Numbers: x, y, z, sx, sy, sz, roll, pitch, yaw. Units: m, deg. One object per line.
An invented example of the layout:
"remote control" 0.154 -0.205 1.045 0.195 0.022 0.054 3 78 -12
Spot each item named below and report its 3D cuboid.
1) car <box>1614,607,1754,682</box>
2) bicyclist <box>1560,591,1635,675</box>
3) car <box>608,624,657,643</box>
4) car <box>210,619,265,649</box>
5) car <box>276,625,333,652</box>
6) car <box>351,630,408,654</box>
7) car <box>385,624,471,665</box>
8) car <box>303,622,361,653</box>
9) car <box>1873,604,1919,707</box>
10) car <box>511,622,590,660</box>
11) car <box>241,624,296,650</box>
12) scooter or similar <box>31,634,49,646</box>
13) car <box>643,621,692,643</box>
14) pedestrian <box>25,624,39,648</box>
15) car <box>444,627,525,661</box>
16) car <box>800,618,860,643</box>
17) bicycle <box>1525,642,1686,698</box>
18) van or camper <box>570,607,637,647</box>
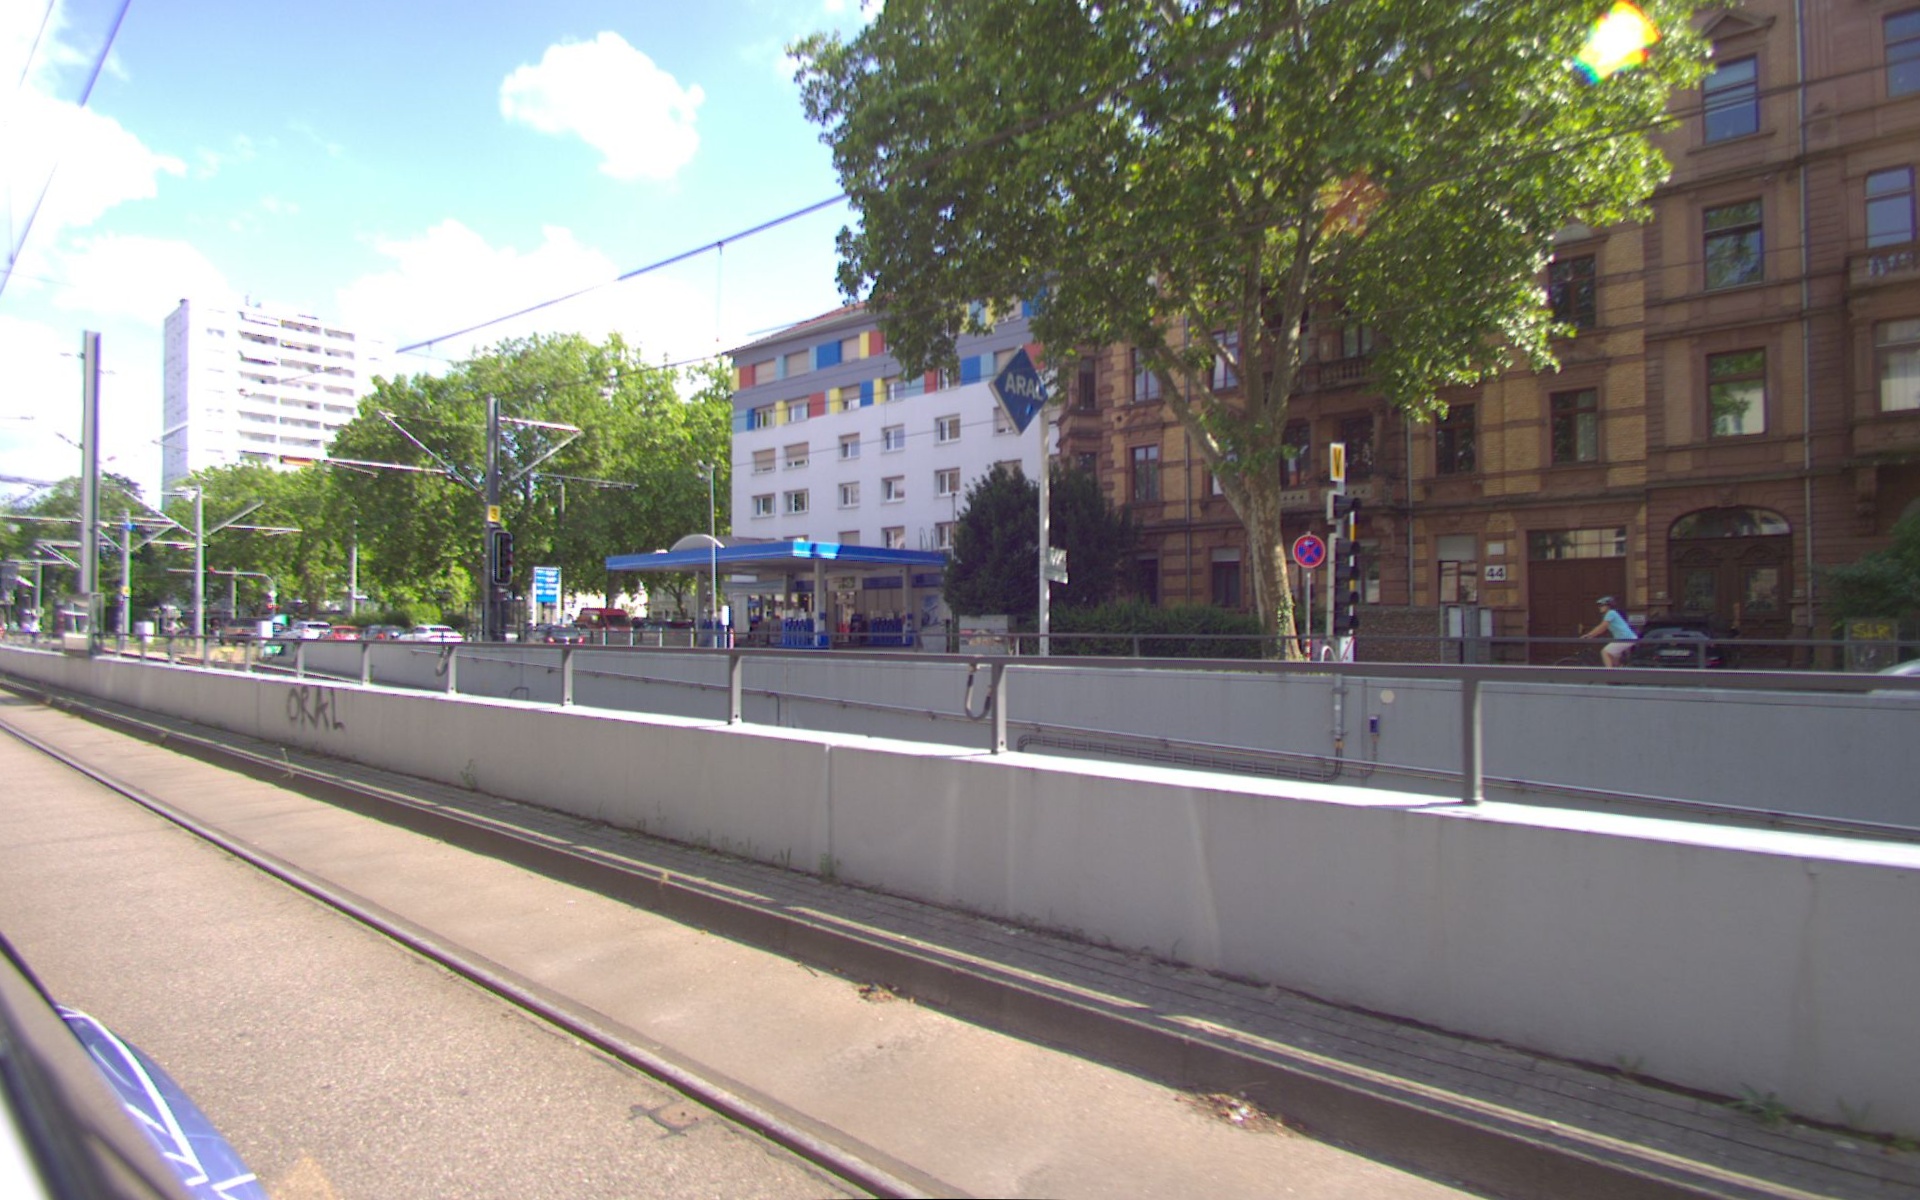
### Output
"car" 15.944 0.923 22.208 2.000 1.494 3.943 -2 -2 43
"bicyclist" 11.522 0.592 18.292 1.044 1.466 0.681 -1 -2 41
"car" -23.854 2.472 73.703 3.997 1.304 1.458 -2 -5 40
"car" -52.133 2.457 72.981 5.332 2.002 2.053 -4 -4 41
"car" -41.108 2.382 63.389 4.676 1.619 1.742 -1 -2 41
"car" -30.972 2.230 53.966 3.633 1.198 1.599 -2 -2 43
"car" -26.238 2.217 49.798 5.074 1.618 1.928 -5 3 41
"car" -36.276 2.181 58.391 4.141 1.619 1.694 -4 -4 41
"car" 13.689 0.714 12.521 3.491 1.313 1.480 -2 -5 43
"car" -16.428 1.636 40.533 1.649 1.427 3.785 1 -2 -44
"car" -46.749 2.525 68.367 5.151 1.665 1.847 -2 -4 41
"scooter or similar" -65.945 2.873 72.542 0.552 0.810 0.830 -2 -2 36
"car" -21.810 2.386 75.435 3.997 1.616 1.510 -2 -4 40
"pedestrian" -66.207 2.578 72.195 0.556 1.746 0.521 -2 -4 36
"car" -21.106 1.928 44.838 4.404 1.427 1.703 -2 -3 43
"car" -11.352 2.646 87.936 5.243 2.102 1.975 -2 -4 37
"bicycle" 11.584 1.226 18.221 2.367 0.920 0.664 -1 -2 41
"van or camper" -25.093 1.907 71.080 5.348 2.662 2.079 -2 -5 43
